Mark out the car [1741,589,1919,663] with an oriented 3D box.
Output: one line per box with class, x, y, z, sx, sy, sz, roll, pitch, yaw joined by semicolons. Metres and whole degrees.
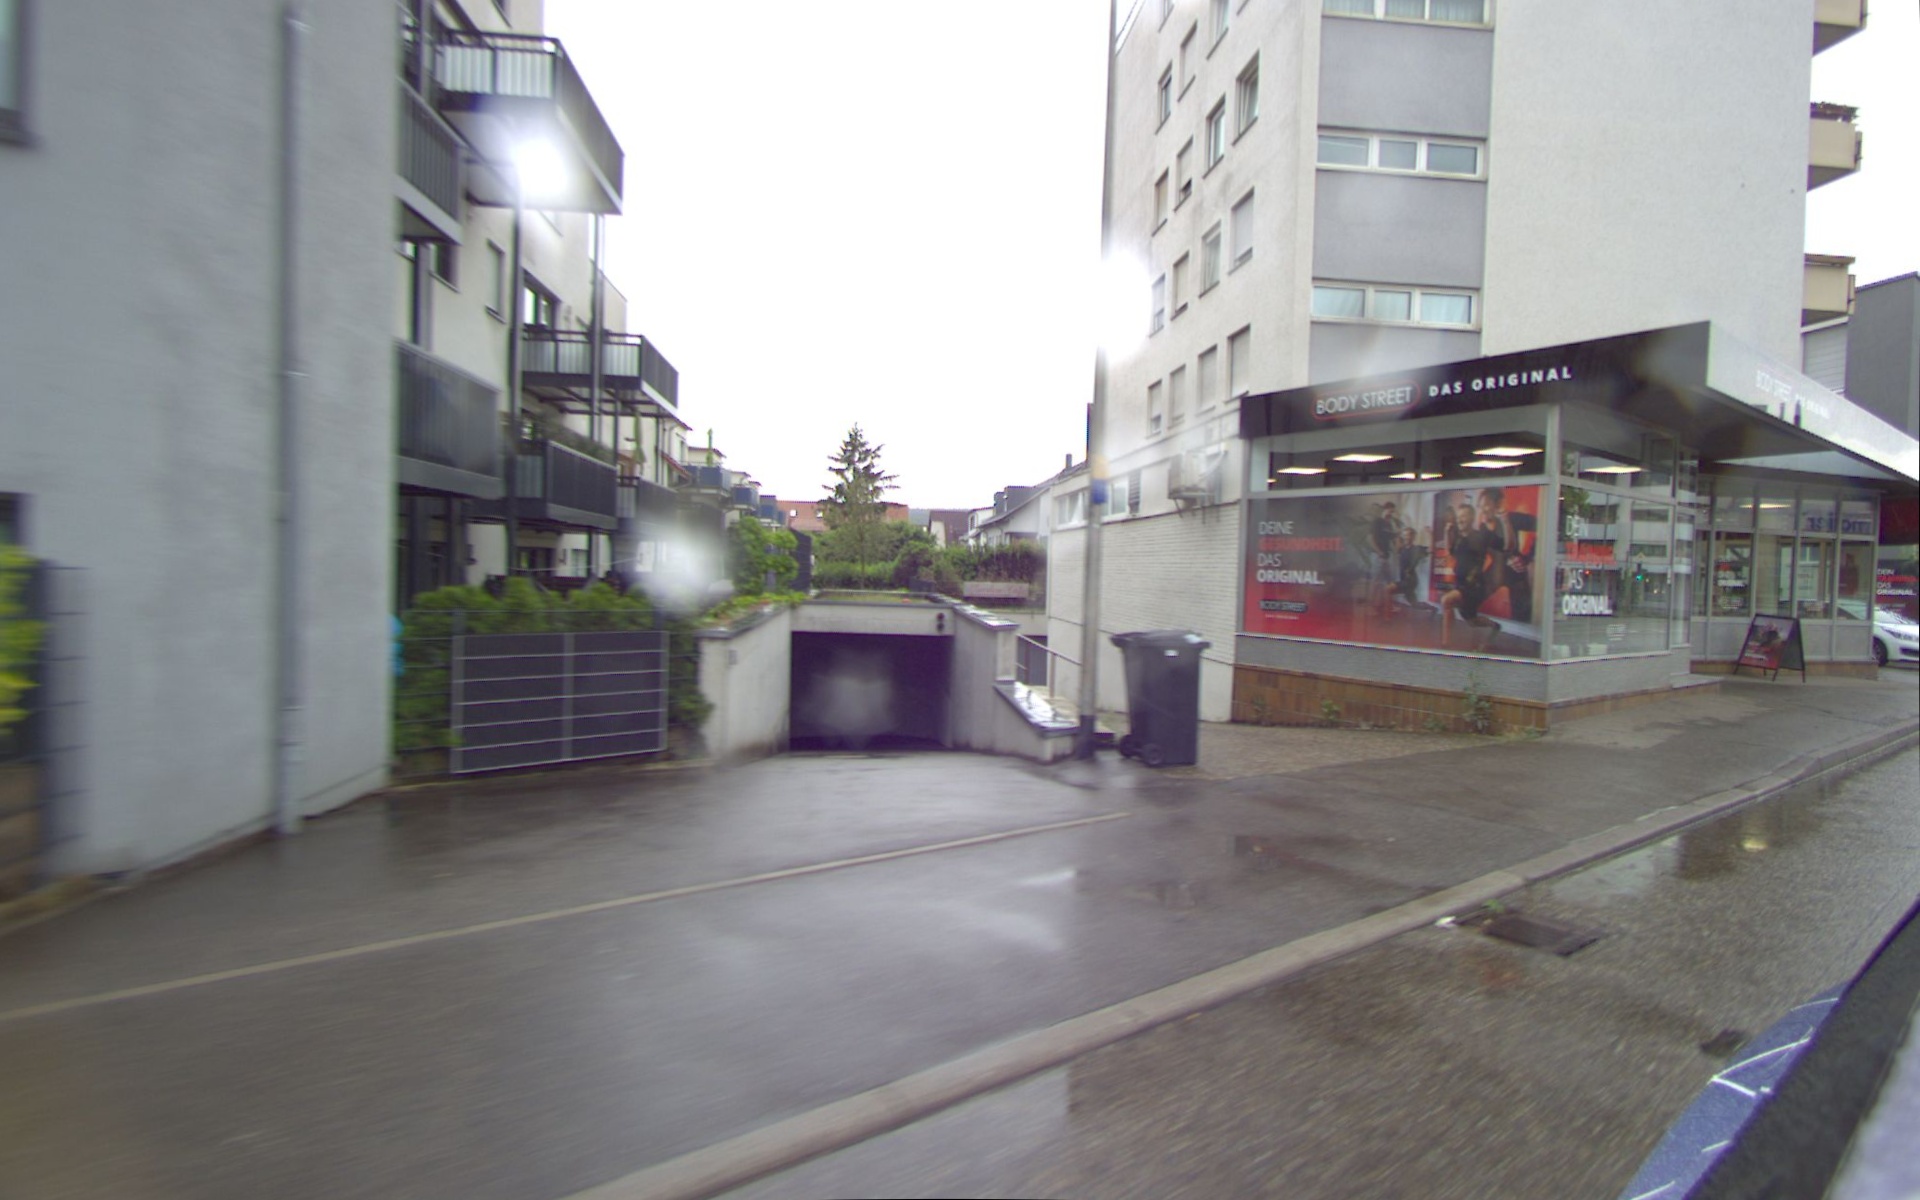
car;20.804;0.575;23.322;1.834;1.513;4.278;3;1;-9
